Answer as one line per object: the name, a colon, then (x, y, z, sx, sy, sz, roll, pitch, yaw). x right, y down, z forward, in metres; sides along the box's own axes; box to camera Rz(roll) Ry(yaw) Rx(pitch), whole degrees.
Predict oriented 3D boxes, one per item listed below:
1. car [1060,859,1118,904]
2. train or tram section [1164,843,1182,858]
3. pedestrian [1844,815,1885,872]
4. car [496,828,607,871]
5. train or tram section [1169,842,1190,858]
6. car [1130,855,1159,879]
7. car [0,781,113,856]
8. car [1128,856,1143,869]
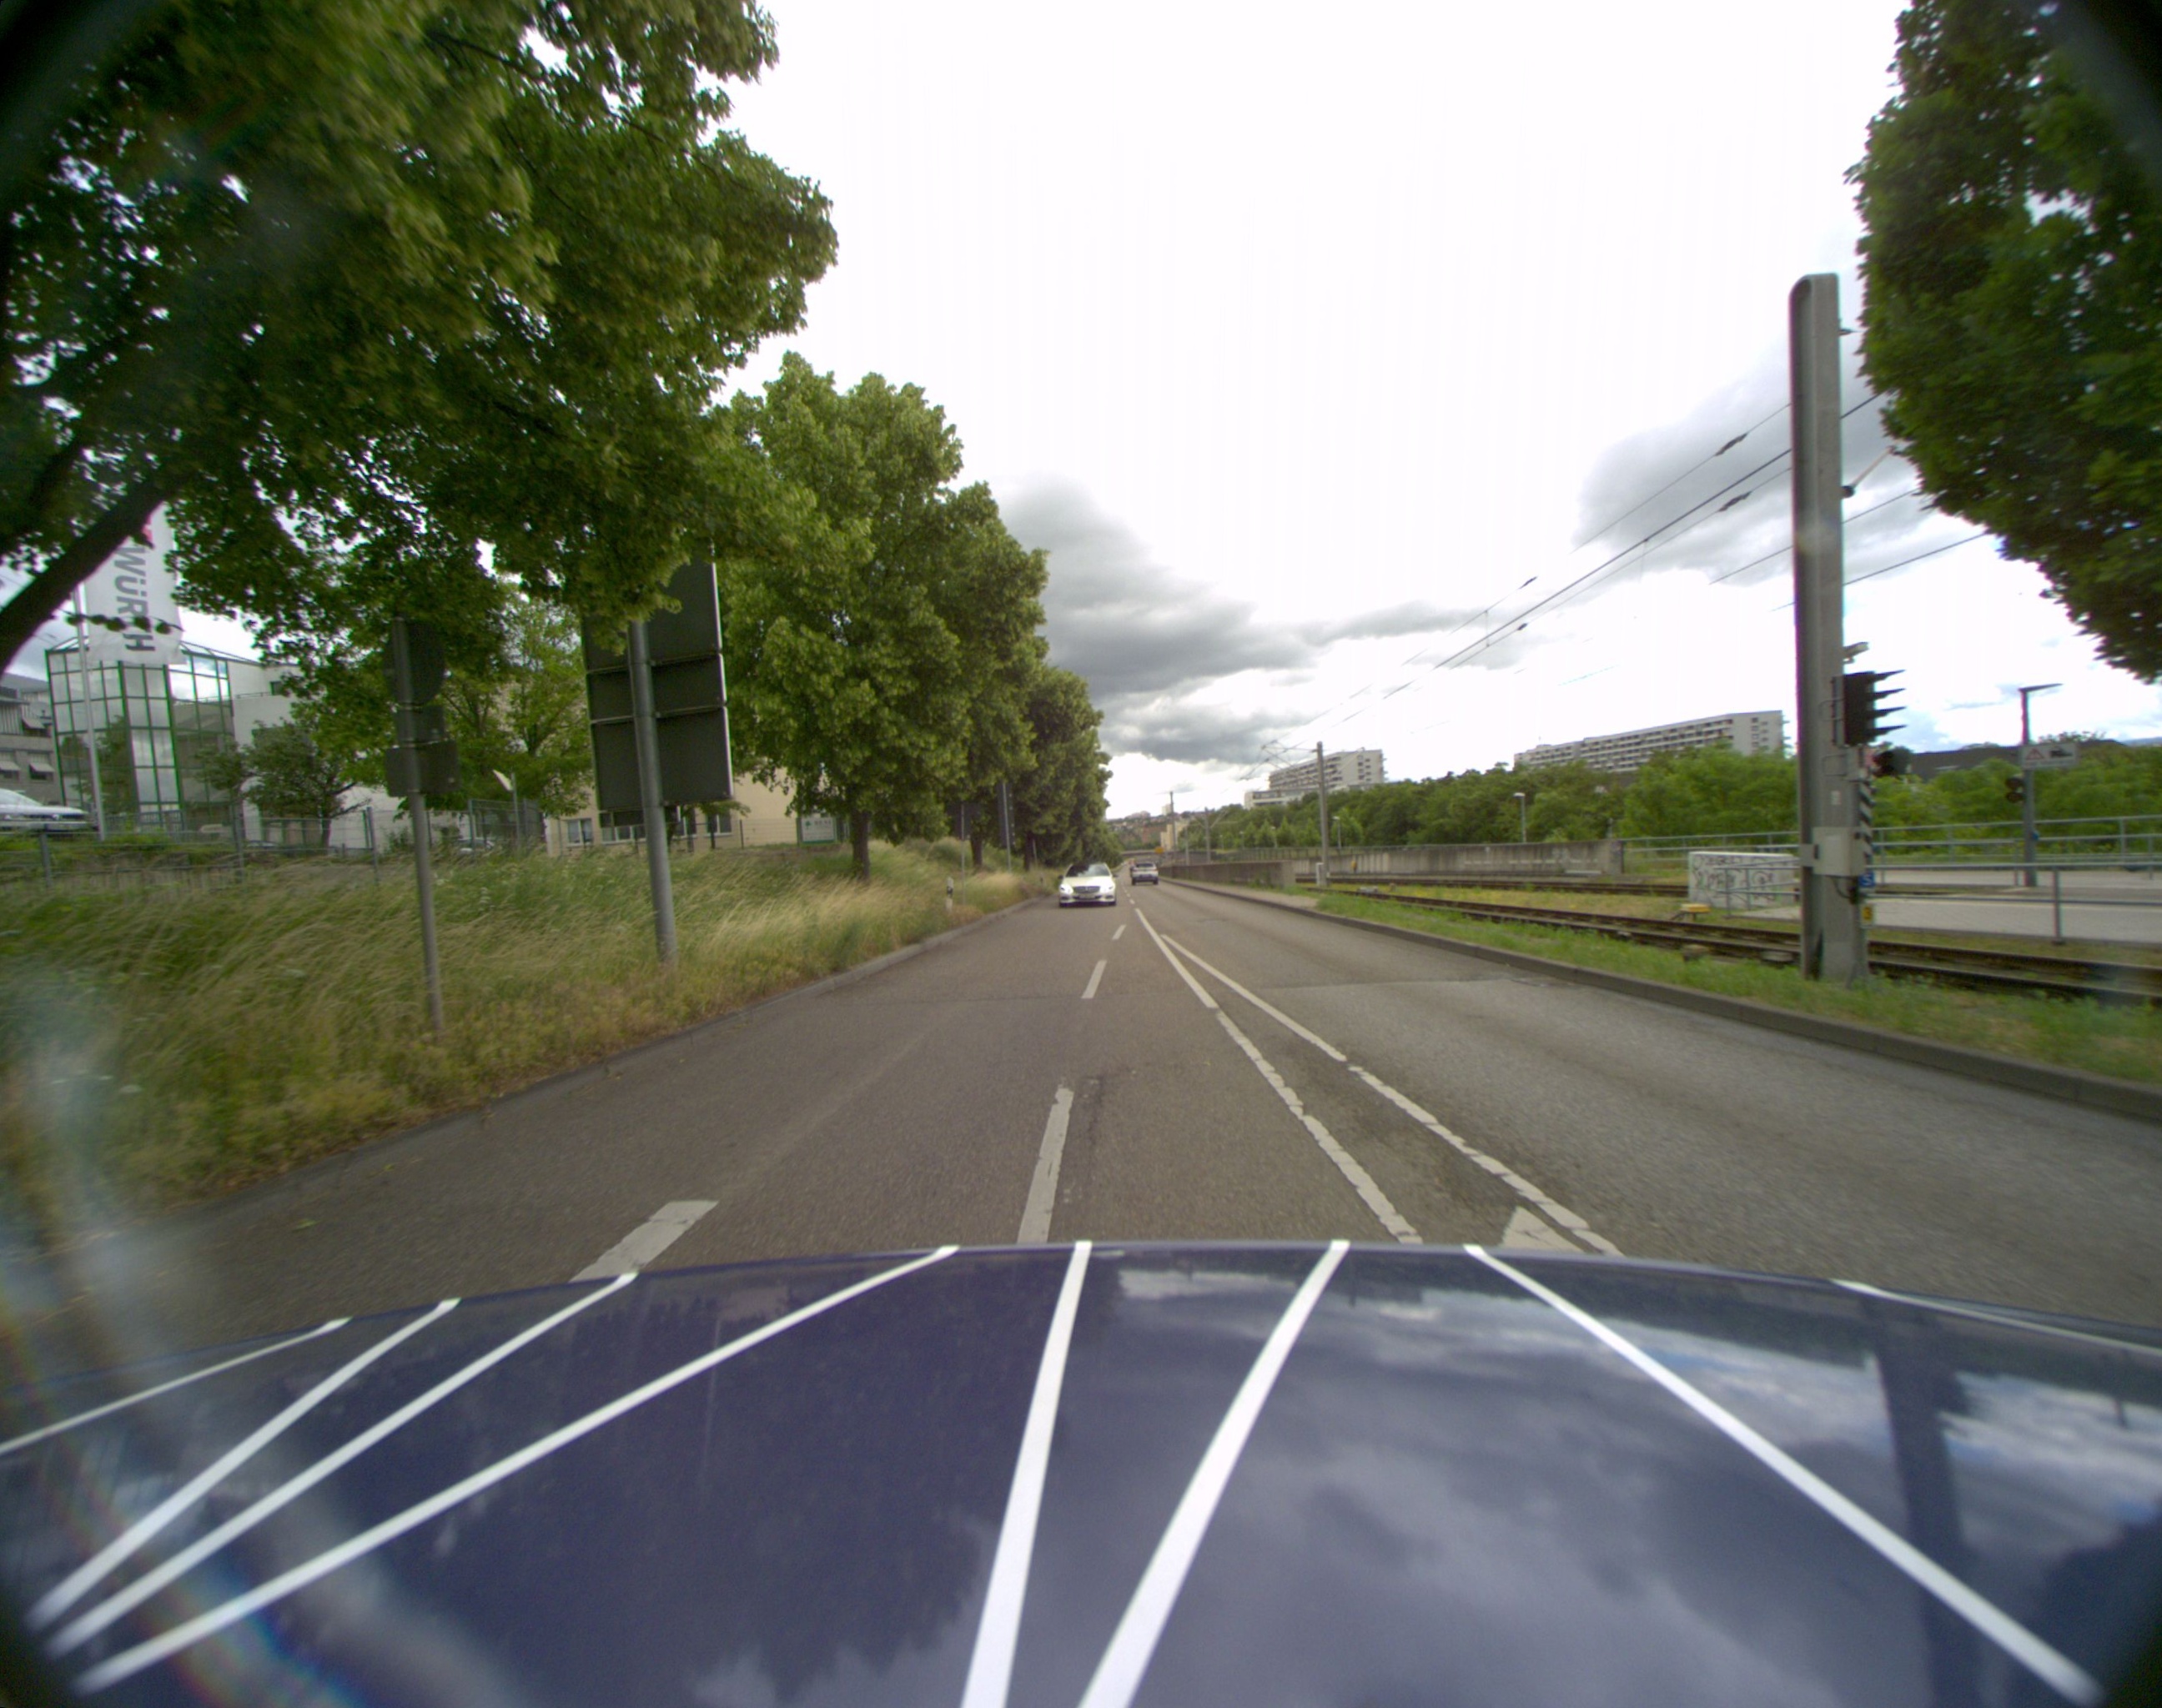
car: (0.360, 0.922, 26.848, 1.739, 1.366, 4.001, -2, 0, 4)
train or tram section: (21.908, -0.833, 182.420, 2.787, 3.175, 18.476, -2, 0, 2)
pedestrian: (22.912, -0.302, 22.233, 0.508, 1.615, 0.646, -2, 1, 2)
car: (-20.854, -0.175, 29.966, 3.365, 1.501, 1.578, -3, 0, 9)
train or tram section: (21.141, -0.802, 163.952, 2.787, 3.175, 18.477, -2, 0, 3)
car: (4.401, 0.877, 52.826, 1.720, 1.512, 3.745, -2, 0, 1)
car: (-23.863, -0.699, 16.414, 3.934, 1.474, 1.756, -1, 1, 6)
car: (7.424, 1.162, 104.141, 1.827, 1.647, 4.246, -2, 0, 2)
